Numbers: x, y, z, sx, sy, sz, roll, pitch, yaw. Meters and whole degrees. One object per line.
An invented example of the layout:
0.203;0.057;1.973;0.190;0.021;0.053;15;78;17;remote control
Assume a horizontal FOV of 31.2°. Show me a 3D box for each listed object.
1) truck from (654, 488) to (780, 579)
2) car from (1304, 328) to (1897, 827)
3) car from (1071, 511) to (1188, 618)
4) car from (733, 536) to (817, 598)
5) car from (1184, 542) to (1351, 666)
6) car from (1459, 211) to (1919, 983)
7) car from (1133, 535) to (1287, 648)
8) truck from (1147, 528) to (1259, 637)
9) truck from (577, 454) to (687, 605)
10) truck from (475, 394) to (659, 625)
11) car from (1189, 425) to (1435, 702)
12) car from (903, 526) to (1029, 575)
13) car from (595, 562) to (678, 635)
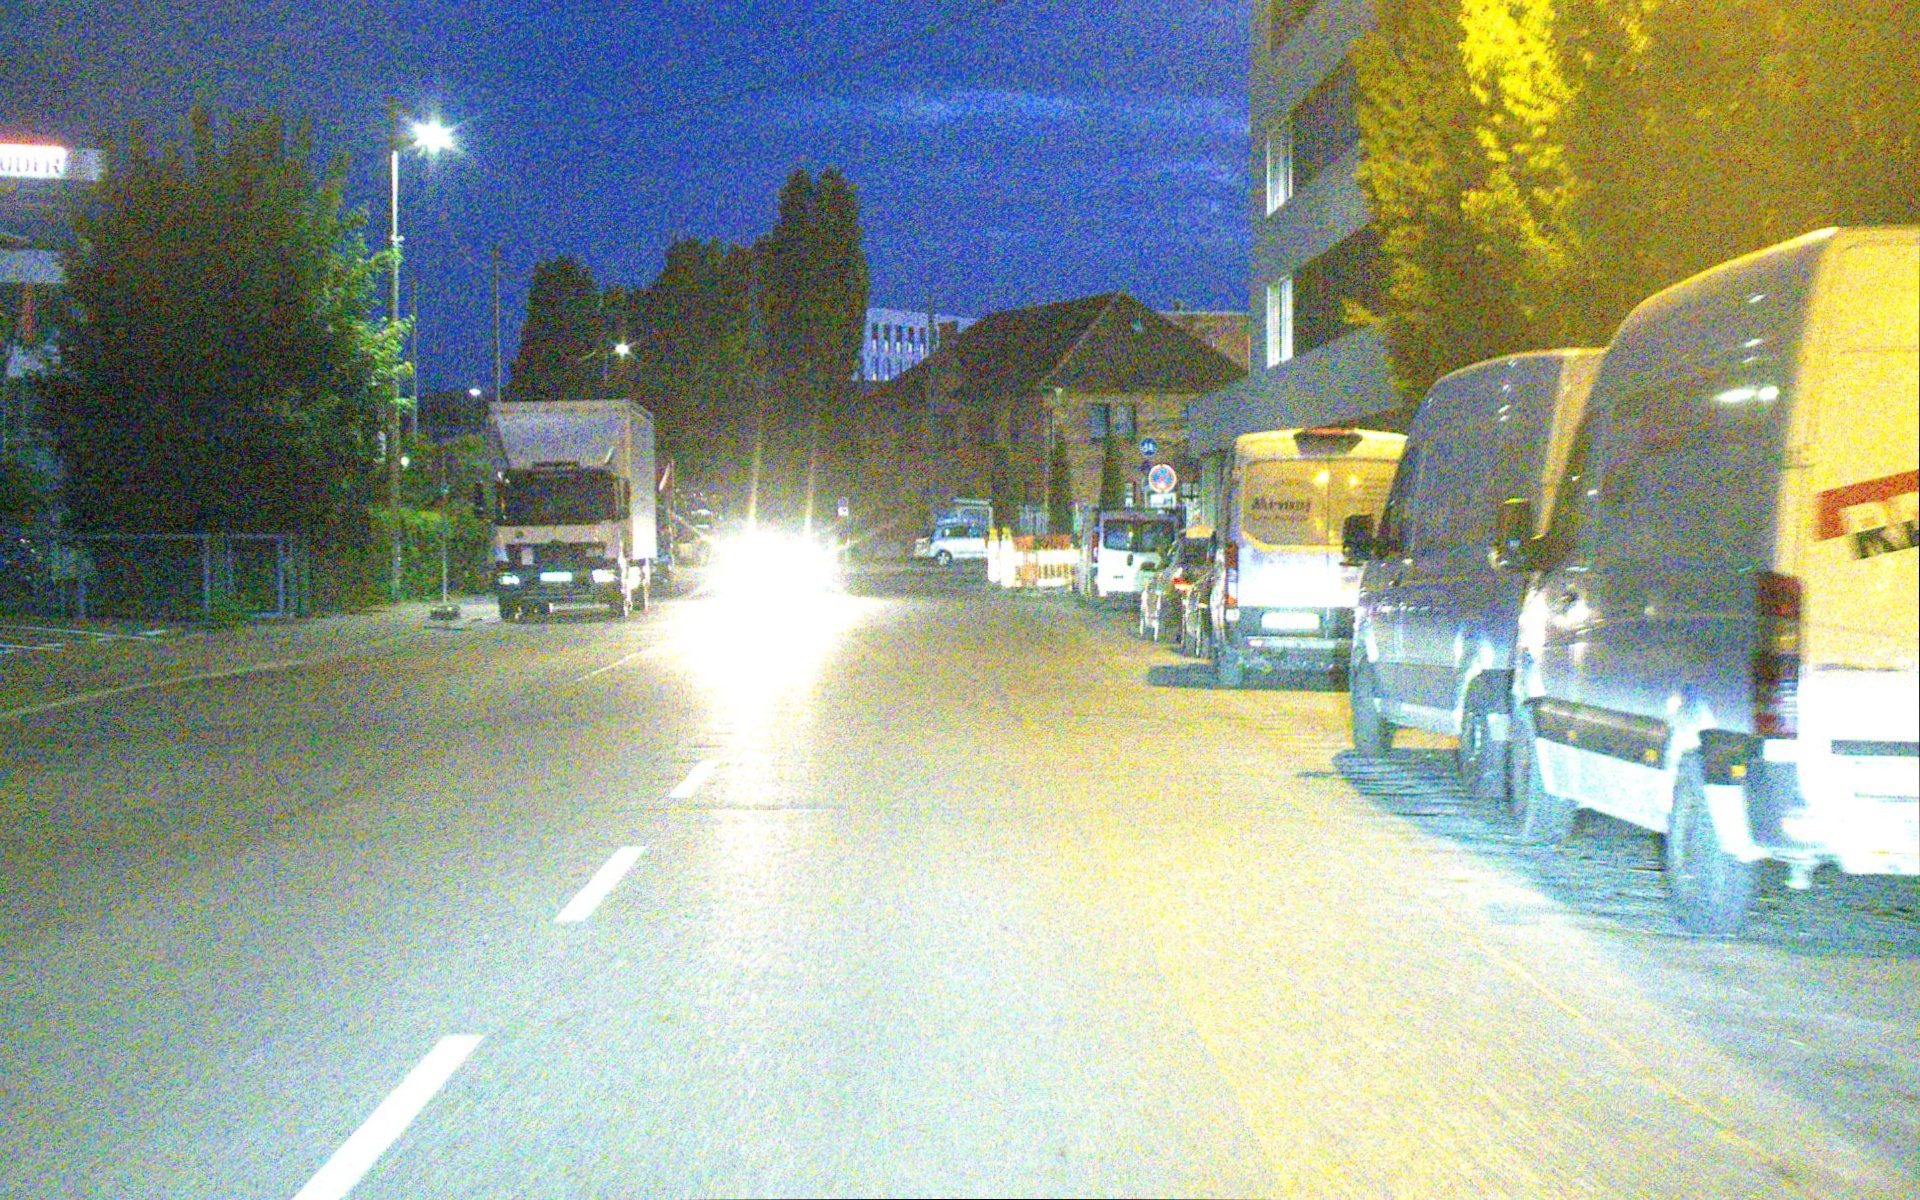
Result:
-10.439;-2.826;146.805;2.754;3.770;9.140;0;1;-21;truck
3.722;-0.179;21.315;2.128;2.562;5.910;3;1;-3;car
3.292;-0.718;67.434;1.993;2.007;4.912;0;1;-1;car
-4.377;-0.792;81.728;1.857;1.415;4.000;0;1;-1;car
3.701;0.010;42.044;1.769;1.407;4.550;0;1;2;car
3.646;-0.029;14.552;1.993;2.562;6.014;3;1;-1;car
3.455;-0.158;48.265;1.946;1.484;5.010;0;1;2;car
3.753;-0.290;53.470;1.370;1.639;3.813;0;1;-2;truck
-9.480;-2.003;98.485;2.772;4.106;9.343;0;1;-8;truck
-7.297;-1.658;64.994;2.746;4.020;9.561;0;1;-2;truck
3.528;-0.397;35.544;1.994;2.517;5.909;3;1;2;car
0.224;-1.874;129.935;4.325;1.640;1.893;-3;2;-22;car
-7.871;-0.061;83.888;1.943;1.711;5.199;0;1;-5;car
